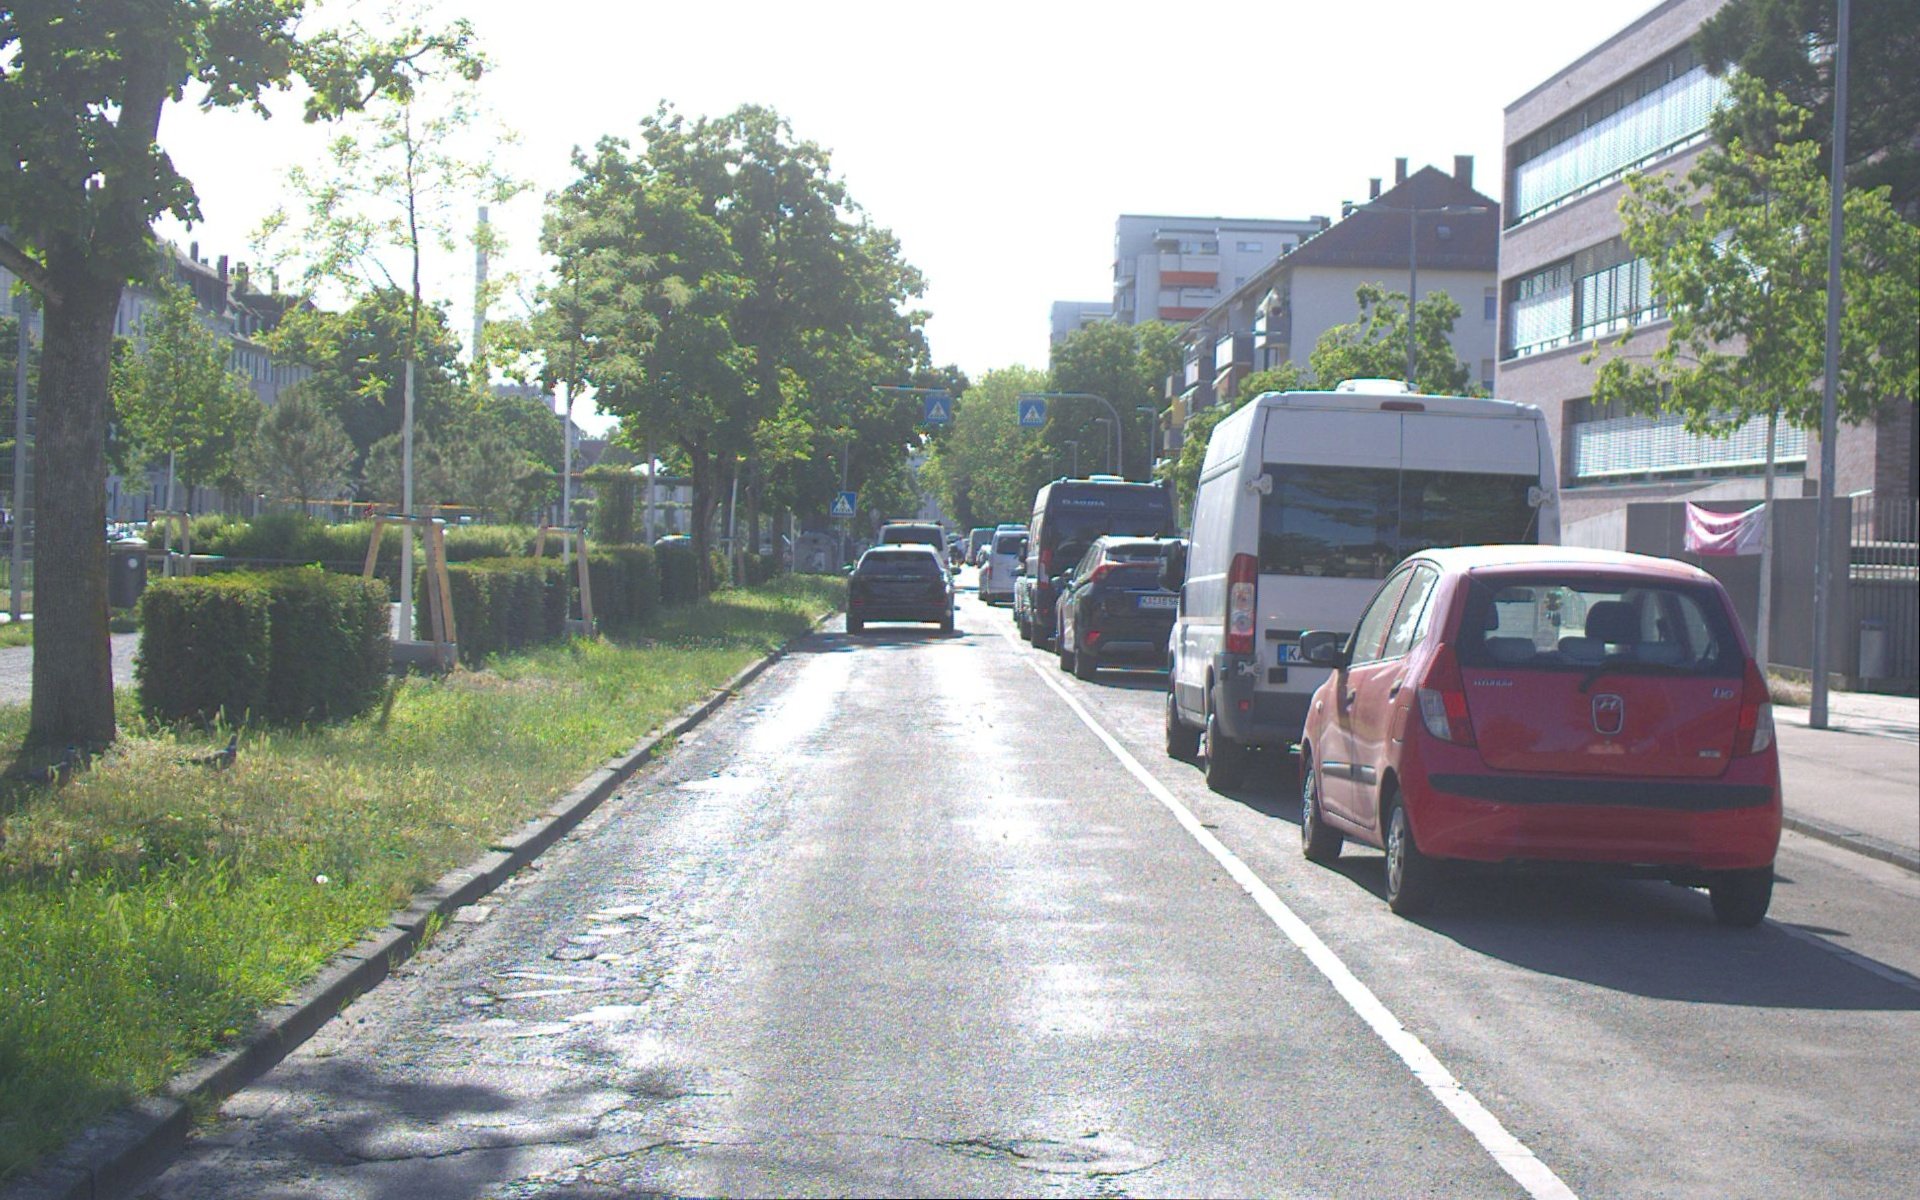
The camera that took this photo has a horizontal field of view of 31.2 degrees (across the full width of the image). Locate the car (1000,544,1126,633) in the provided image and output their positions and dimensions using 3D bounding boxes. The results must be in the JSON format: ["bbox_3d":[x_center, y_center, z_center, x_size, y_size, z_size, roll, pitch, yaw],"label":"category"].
[{"bbox_3d":[1.740,-0.230,59.462,1.993,1.415,4.636,1,1,0],"label":"car"}]

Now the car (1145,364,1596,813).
[{"bbox_3d":[2.573,-0.114,23.059,2.241,2.565,5.433,2,1,0],"label":"car"}]

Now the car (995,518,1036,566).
[{"bbox_3d":[2.971,-3.108,184.794,1.993,2.422,4.500,4,1,0],"label":"car"}]

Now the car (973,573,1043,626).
[{"bbox_3d":[1.279,-0.031,93.293,1.764,1.314,4.168,3,0,0],"label":"car"}]

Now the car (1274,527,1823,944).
[{"bbox_3d":[2.485,0.500,15.350,1.619,1.583,3.592,2,1,-3],"label":"car"}]

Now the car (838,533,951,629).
[{"bbox_3d":[-1.070,-0.341,57.964,1.794,1.505,4.000,2,1,0],"label":"car"}]

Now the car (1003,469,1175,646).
[{"bbox_3d":[1.911,-0.677,53.000,2.115,2.507,6.533,1,1,-2],"label":"car"}]

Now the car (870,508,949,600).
[{"bbox_3d":[-1.206,-1.128,83.192,1.794,2.115,4.000,2,1,0],"label":"car"}]

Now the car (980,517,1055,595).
[{"bbox_3d":[1.471,-1.123,86.528,1.794,1.848,4.413,2,1,1],"label":"car"}]

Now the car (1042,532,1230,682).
[{"bbox_3d":[2.026,0.041,40.692,1.846,1.634,4.504,1,1,-1],"label":"car"}]
